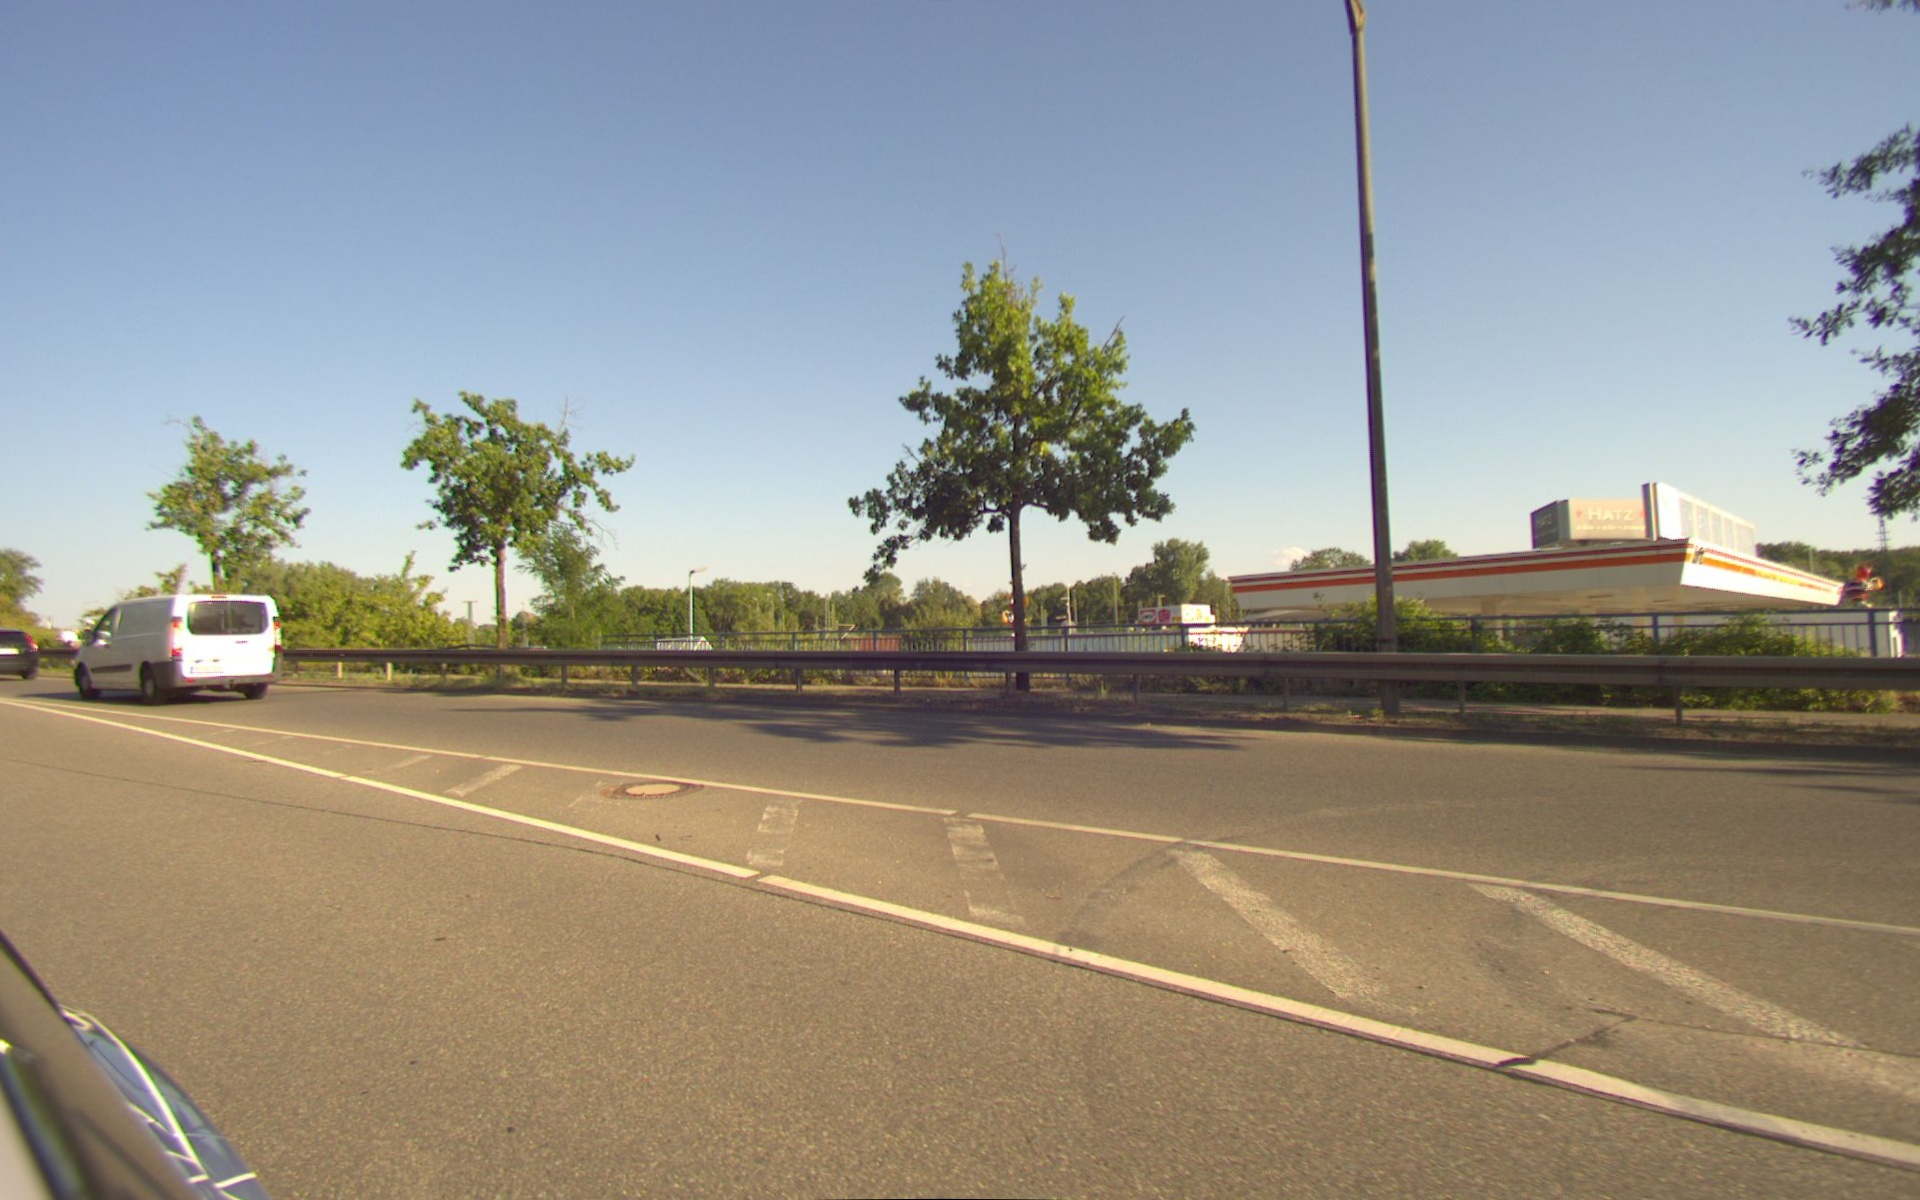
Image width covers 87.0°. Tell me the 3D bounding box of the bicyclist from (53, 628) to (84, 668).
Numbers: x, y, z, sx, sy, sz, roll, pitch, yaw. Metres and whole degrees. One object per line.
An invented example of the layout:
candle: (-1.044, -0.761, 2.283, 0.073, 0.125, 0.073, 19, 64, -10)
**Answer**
bicyclist: (-32.899, 1.768, 37.346, 0.825, 1.470, 0.595, -1, -4, 32)

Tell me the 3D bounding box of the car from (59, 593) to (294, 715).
car: (-14.887, 0.940, 19.126, 5.243, 2.029, 1.863, -1, 0, 33)

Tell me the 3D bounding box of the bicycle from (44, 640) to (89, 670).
bicycle: (-32.990, 2.028, 37.353, 2.305, 1.085, 0.578, -1, -4, 32)

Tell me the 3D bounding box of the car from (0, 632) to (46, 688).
car: (-27.427, 1.659, 28.118, 4.366, 1.477, 1.760, -1, -2, 30)
